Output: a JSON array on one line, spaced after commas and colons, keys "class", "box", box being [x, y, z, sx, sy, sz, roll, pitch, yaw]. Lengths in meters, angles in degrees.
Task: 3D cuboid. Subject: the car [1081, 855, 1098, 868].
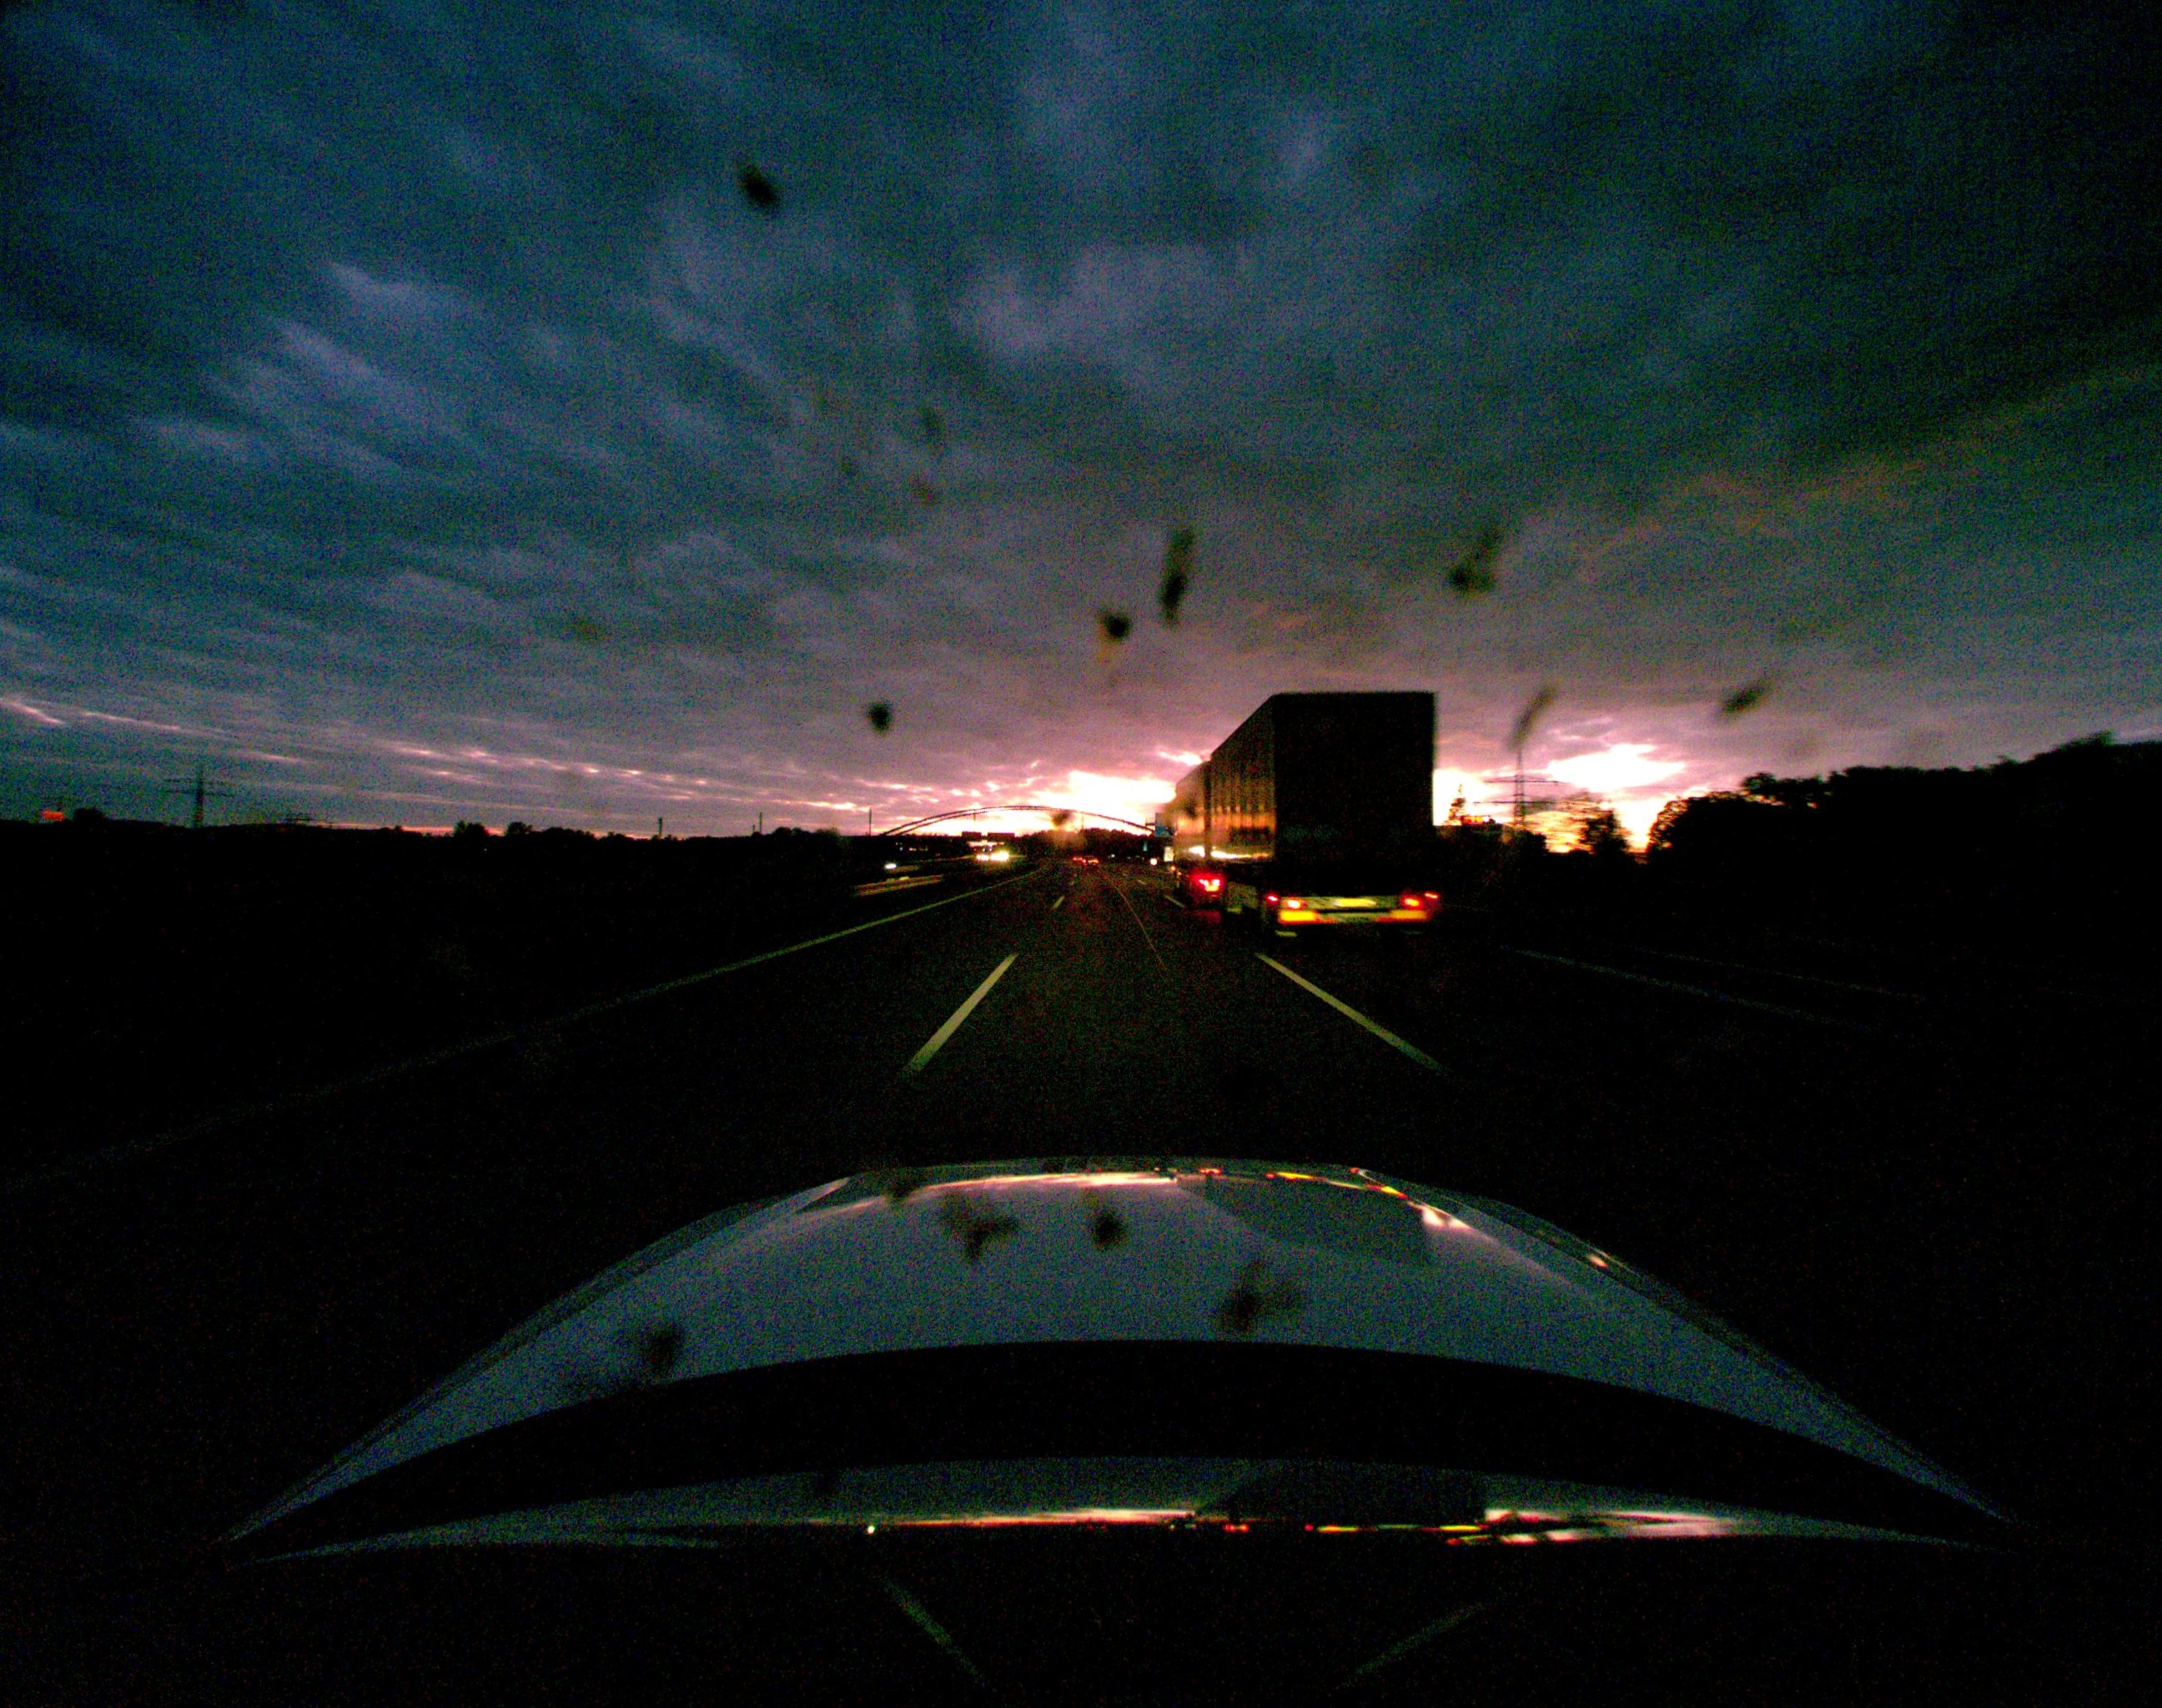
[{"class": "car", "box": [0.960, 0.873, 95.871, 1.686, 1.401, 3.403, 0, -1, -5]}]

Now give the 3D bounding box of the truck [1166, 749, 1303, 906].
[{"class": "truck", "box": [4.564, -0.698, 26.570, 2.680, 4.071, 10.522, -1, 0, 1]}]

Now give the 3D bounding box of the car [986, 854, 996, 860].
[{"class": "car", "box": [-23.690, 0.769, 215.367, 1.987, 1.625, 4.844, -1, 0, 1]}]

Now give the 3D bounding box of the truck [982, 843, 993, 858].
[{"class": "truck", "box": [-28.245, -0.978, 245.914, 2.819, 4.507, 6.237, -1, 0, -3]}]

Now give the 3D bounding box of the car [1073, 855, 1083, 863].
[{"class": "car", "box": [-0.471, 0.871, 153.136, 1.683, 1.401, 3.410, -1, -2, 3]}]

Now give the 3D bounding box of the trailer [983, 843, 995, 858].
[{"class": "trailer", "box": [-28.598, -1.087, 252.390, 2.818, 4.507, 14.610, -1, 0, -3]}]

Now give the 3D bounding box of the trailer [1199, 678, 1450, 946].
[{"class": "trailer", "box": [4.358, -0.653, 16.864, 2.712, 4.071, 8.833, -1, 0, 1]}]
